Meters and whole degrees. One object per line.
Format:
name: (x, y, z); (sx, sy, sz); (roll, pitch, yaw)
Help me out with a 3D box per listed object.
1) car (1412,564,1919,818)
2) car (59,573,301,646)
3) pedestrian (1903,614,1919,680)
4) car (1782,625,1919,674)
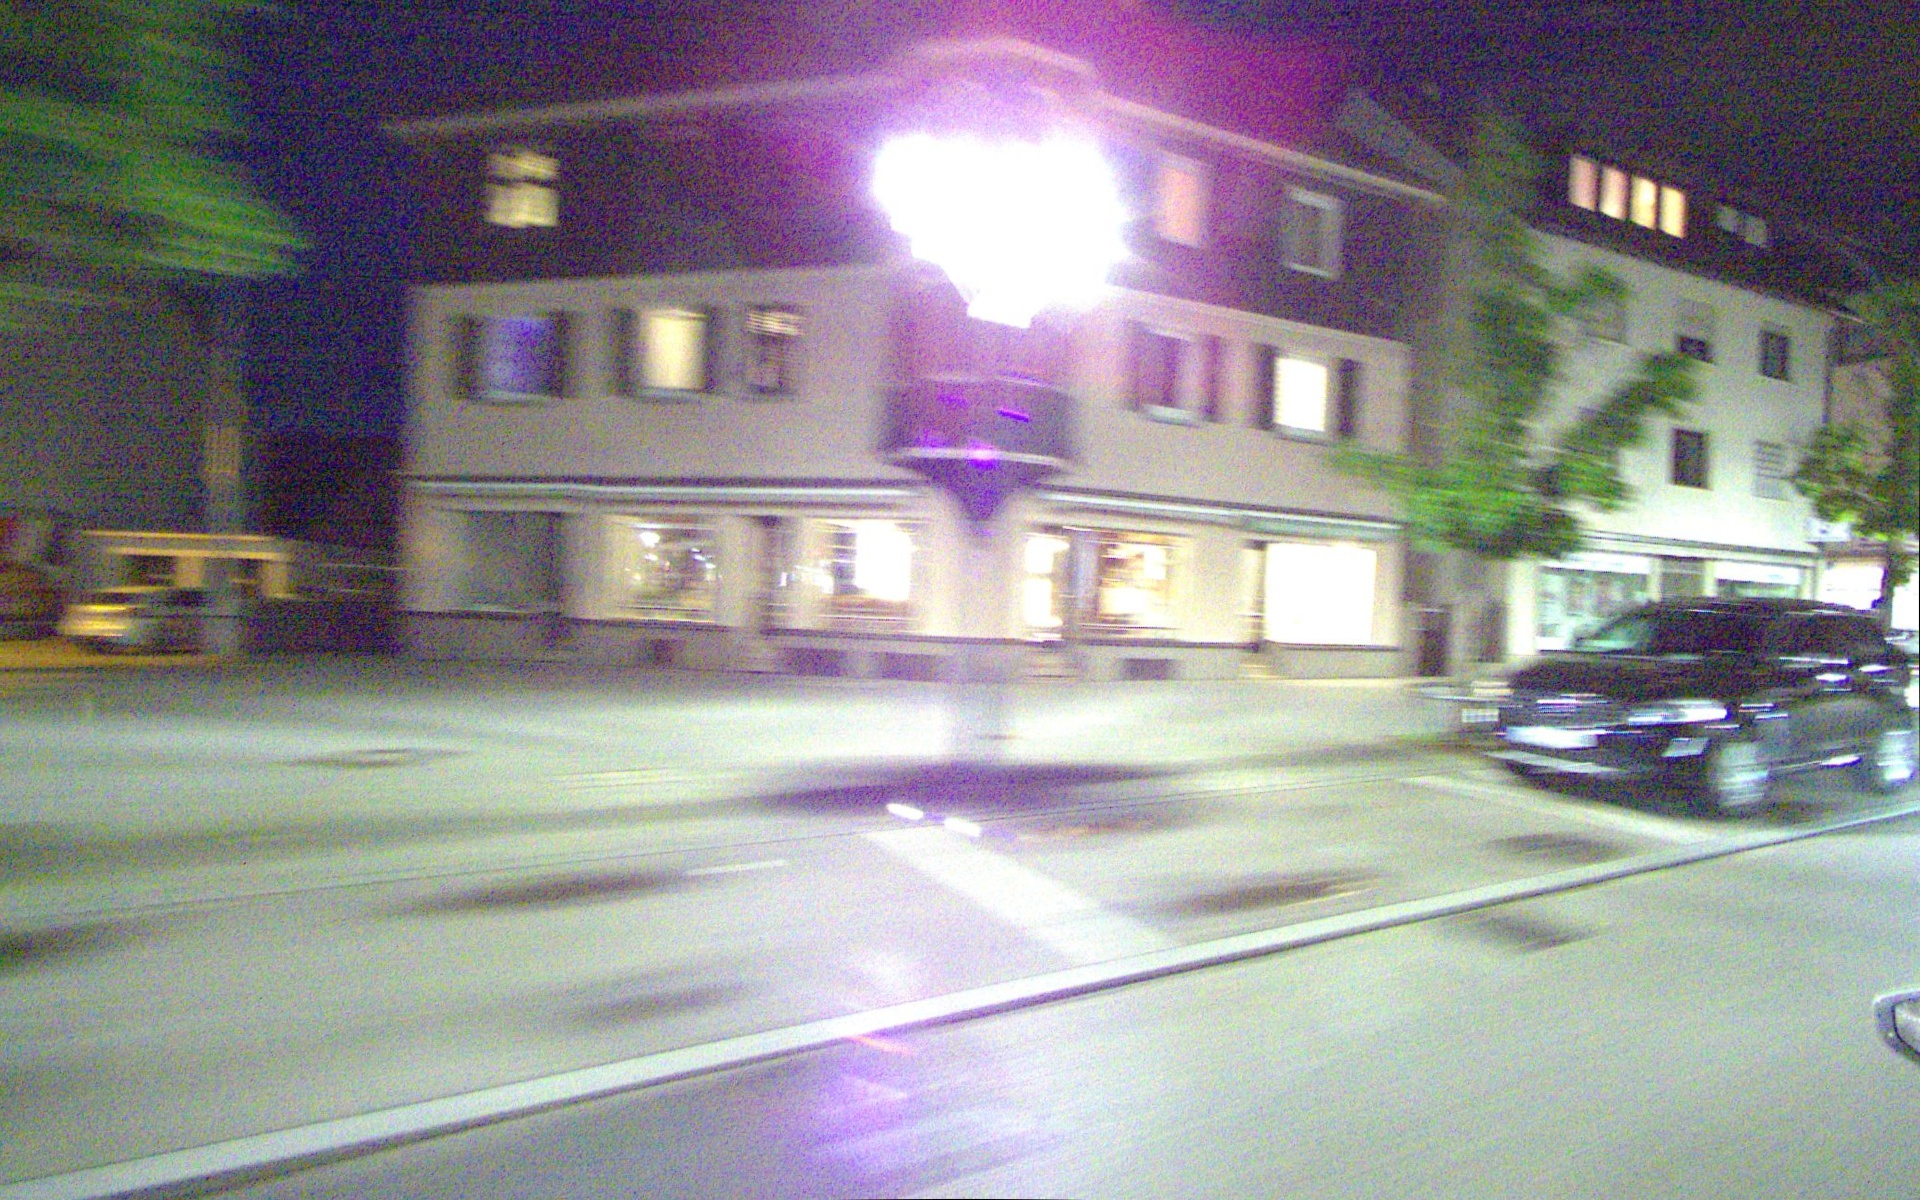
car: (6.564, 0.679, 8.972); (4.942, 1.713, 2.008); (2, 2, -29)
car: (-17.310, 0.228, 22.567); (1.882, 1.461, 4.002); (1, -1, 13)
pedestrian: (24.896, 1.210, 25.797); (0.806, 1.678, 0.766); (0, 1, -28)
car: (28.417, 1.534, 31.163); (1.816, 1.457, 4.155); (2, -3, -25)
